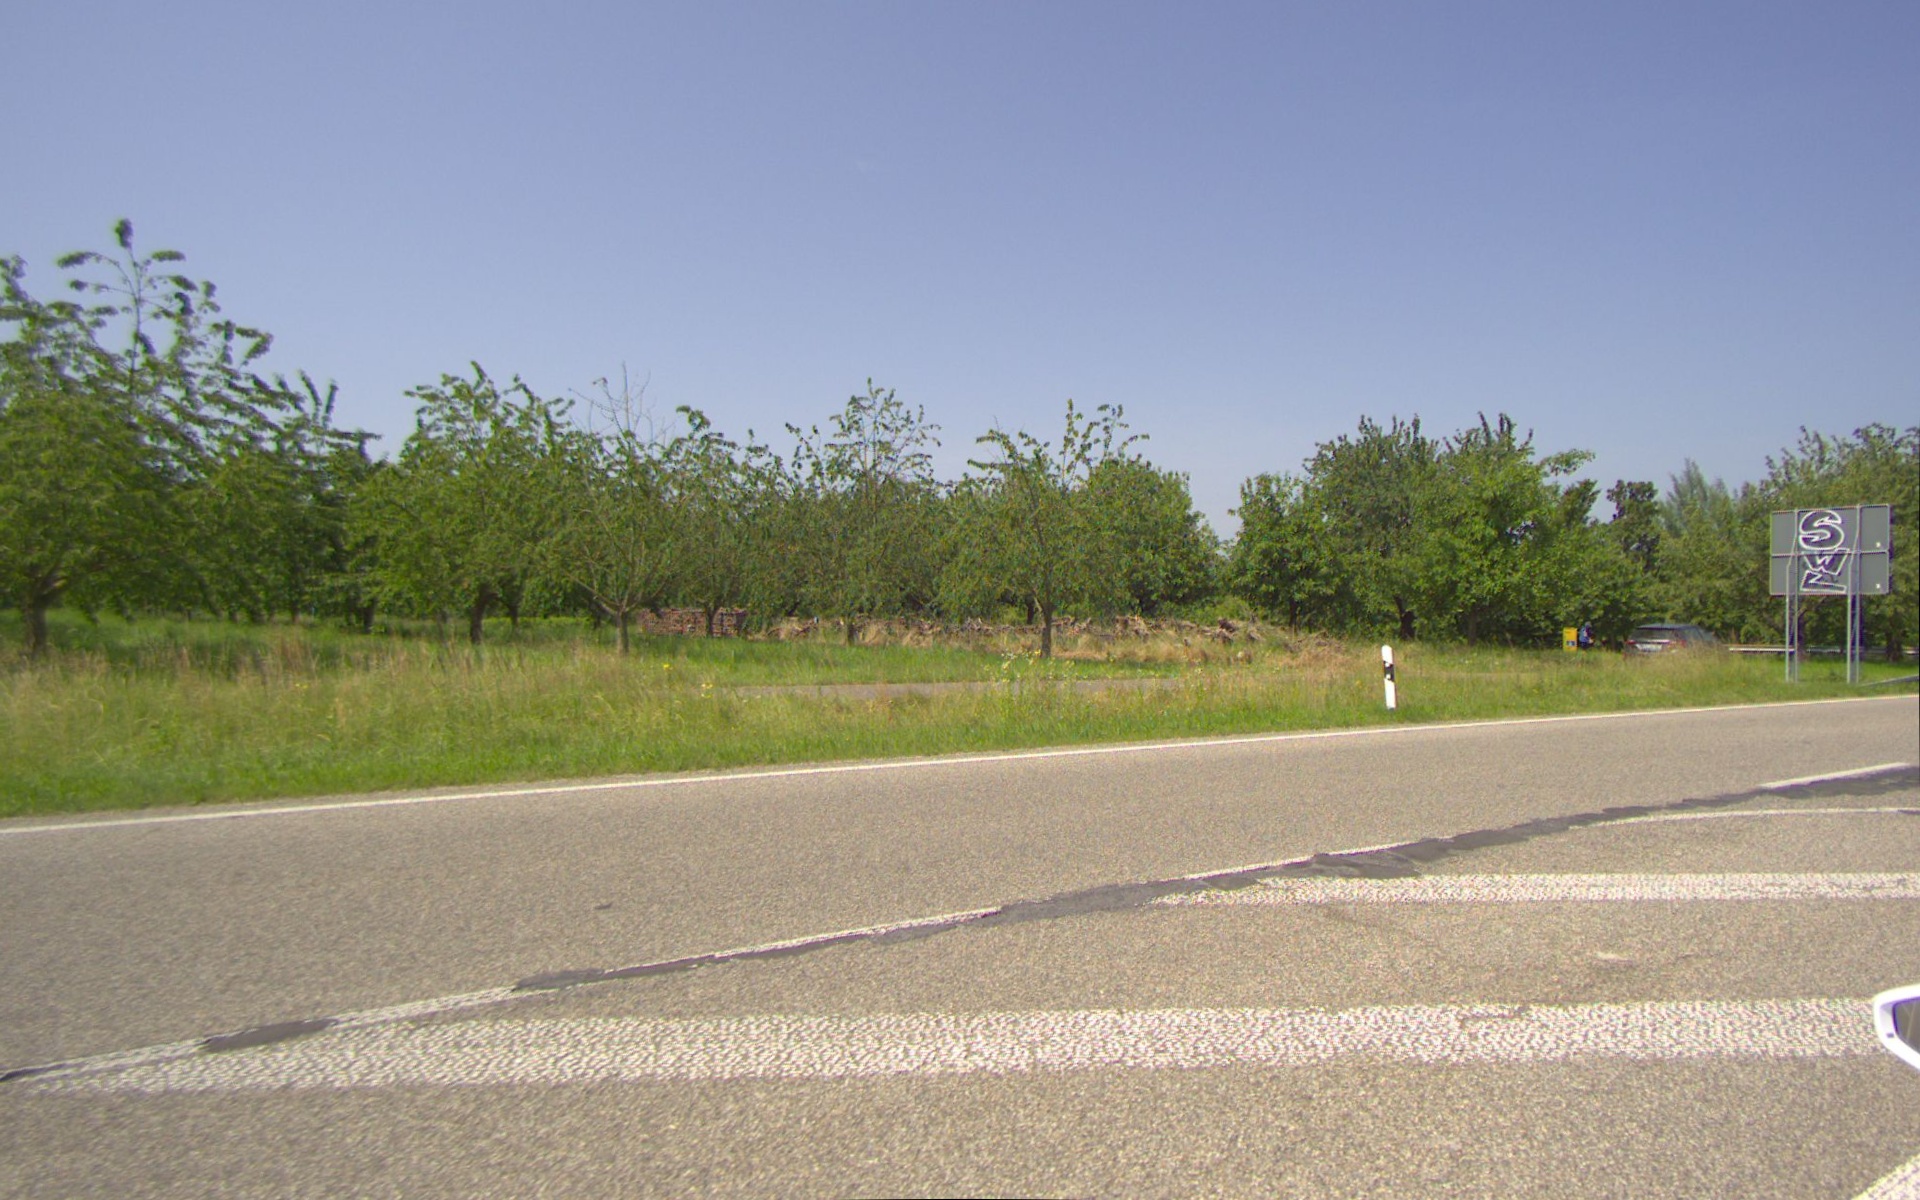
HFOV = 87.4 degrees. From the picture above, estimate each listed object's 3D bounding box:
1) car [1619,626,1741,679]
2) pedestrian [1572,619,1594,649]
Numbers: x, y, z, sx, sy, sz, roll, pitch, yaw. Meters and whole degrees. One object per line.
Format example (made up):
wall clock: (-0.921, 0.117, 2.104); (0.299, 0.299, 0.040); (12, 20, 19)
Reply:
car: (21.286, 1.510, 29.660); (4.002, 1.442, 1.693); (1, -1, -34)
pedestrian: (27.551, 1.513, 44.421); (0.549, 1.314, 0.571); (1, 0, -27)
